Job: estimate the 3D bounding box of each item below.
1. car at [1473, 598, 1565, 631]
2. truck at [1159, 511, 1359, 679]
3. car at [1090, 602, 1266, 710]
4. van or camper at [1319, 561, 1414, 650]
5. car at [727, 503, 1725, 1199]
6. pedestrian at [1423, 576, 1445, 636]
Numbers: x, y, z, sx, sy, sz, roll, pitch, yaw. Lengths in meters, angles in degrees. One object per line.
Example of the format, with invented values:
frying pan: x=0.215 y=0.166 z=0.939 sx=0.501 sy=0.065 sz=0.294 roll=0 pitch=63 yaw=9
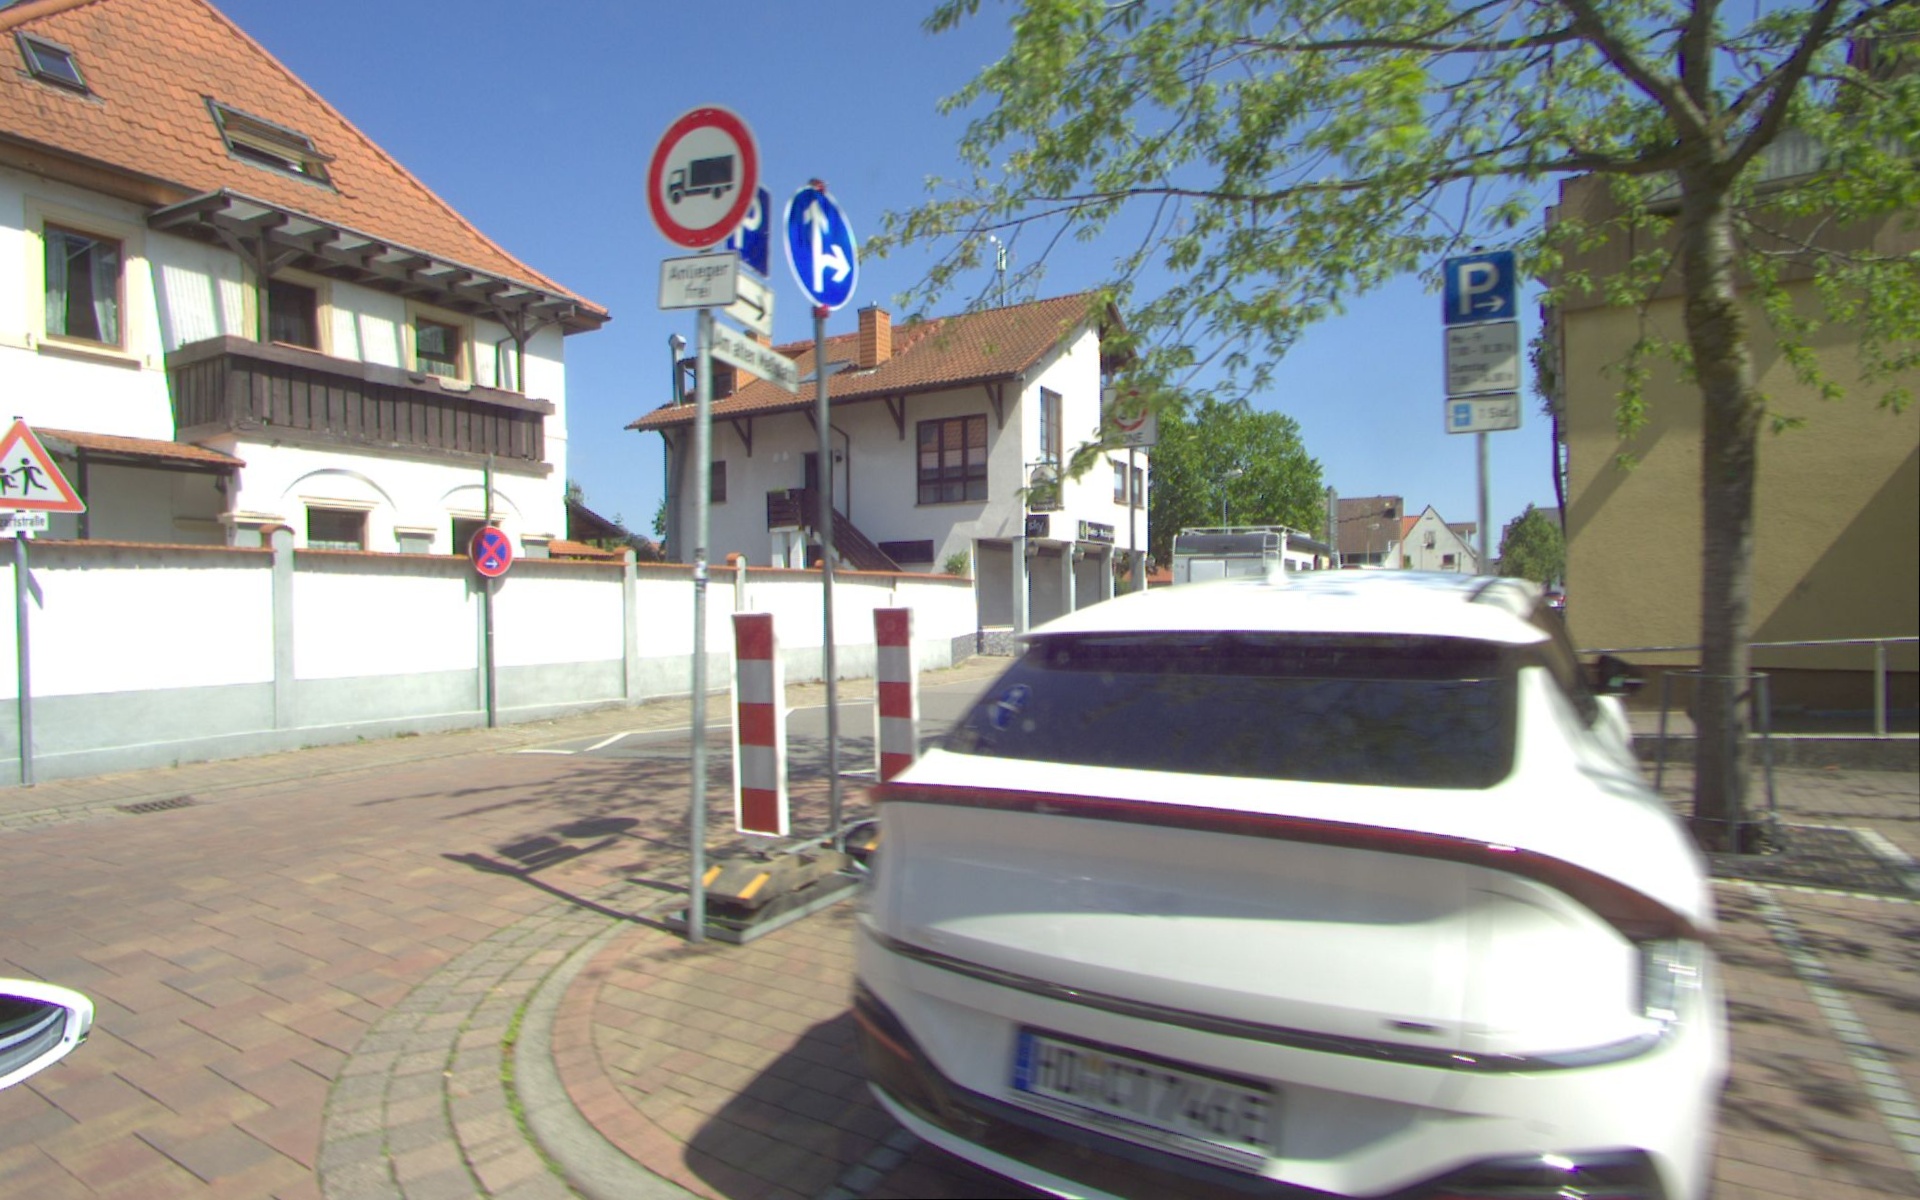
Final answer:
car: x=27.339 y=0.706 z=49.052 sx=3.877 sy=1.597 sz=1.650 roll=-1 pitch=0 yaw=29
truck: x=6.655 y=-0.069 z=21.618 sx=2.508 sy=3.045 sz=6.371 roll=0 pitch=0 yaw=32
car: x=3.538 y=0.774 z=15.809 sx=1.630 sy=1.471 sz=3.608 roll=0 pitch=0 yaw=31
van or camper: x=12.621 y=0.175 z=30.898 sx=2.039 sy=2.511 sz=4.650 roll=0 pitch=0 yaw=31
car: x=1.436 y=0.621 z=3.613 sx=1.764 sy=1.597 sz=4.428 roll=0 pitch=2 yaw=33
pedestrian: x=14.102 y=0.191 z=29.804 sx=0.494 sy=1.754 sz=0.756 roll=0 pitch=1 yaw=34
